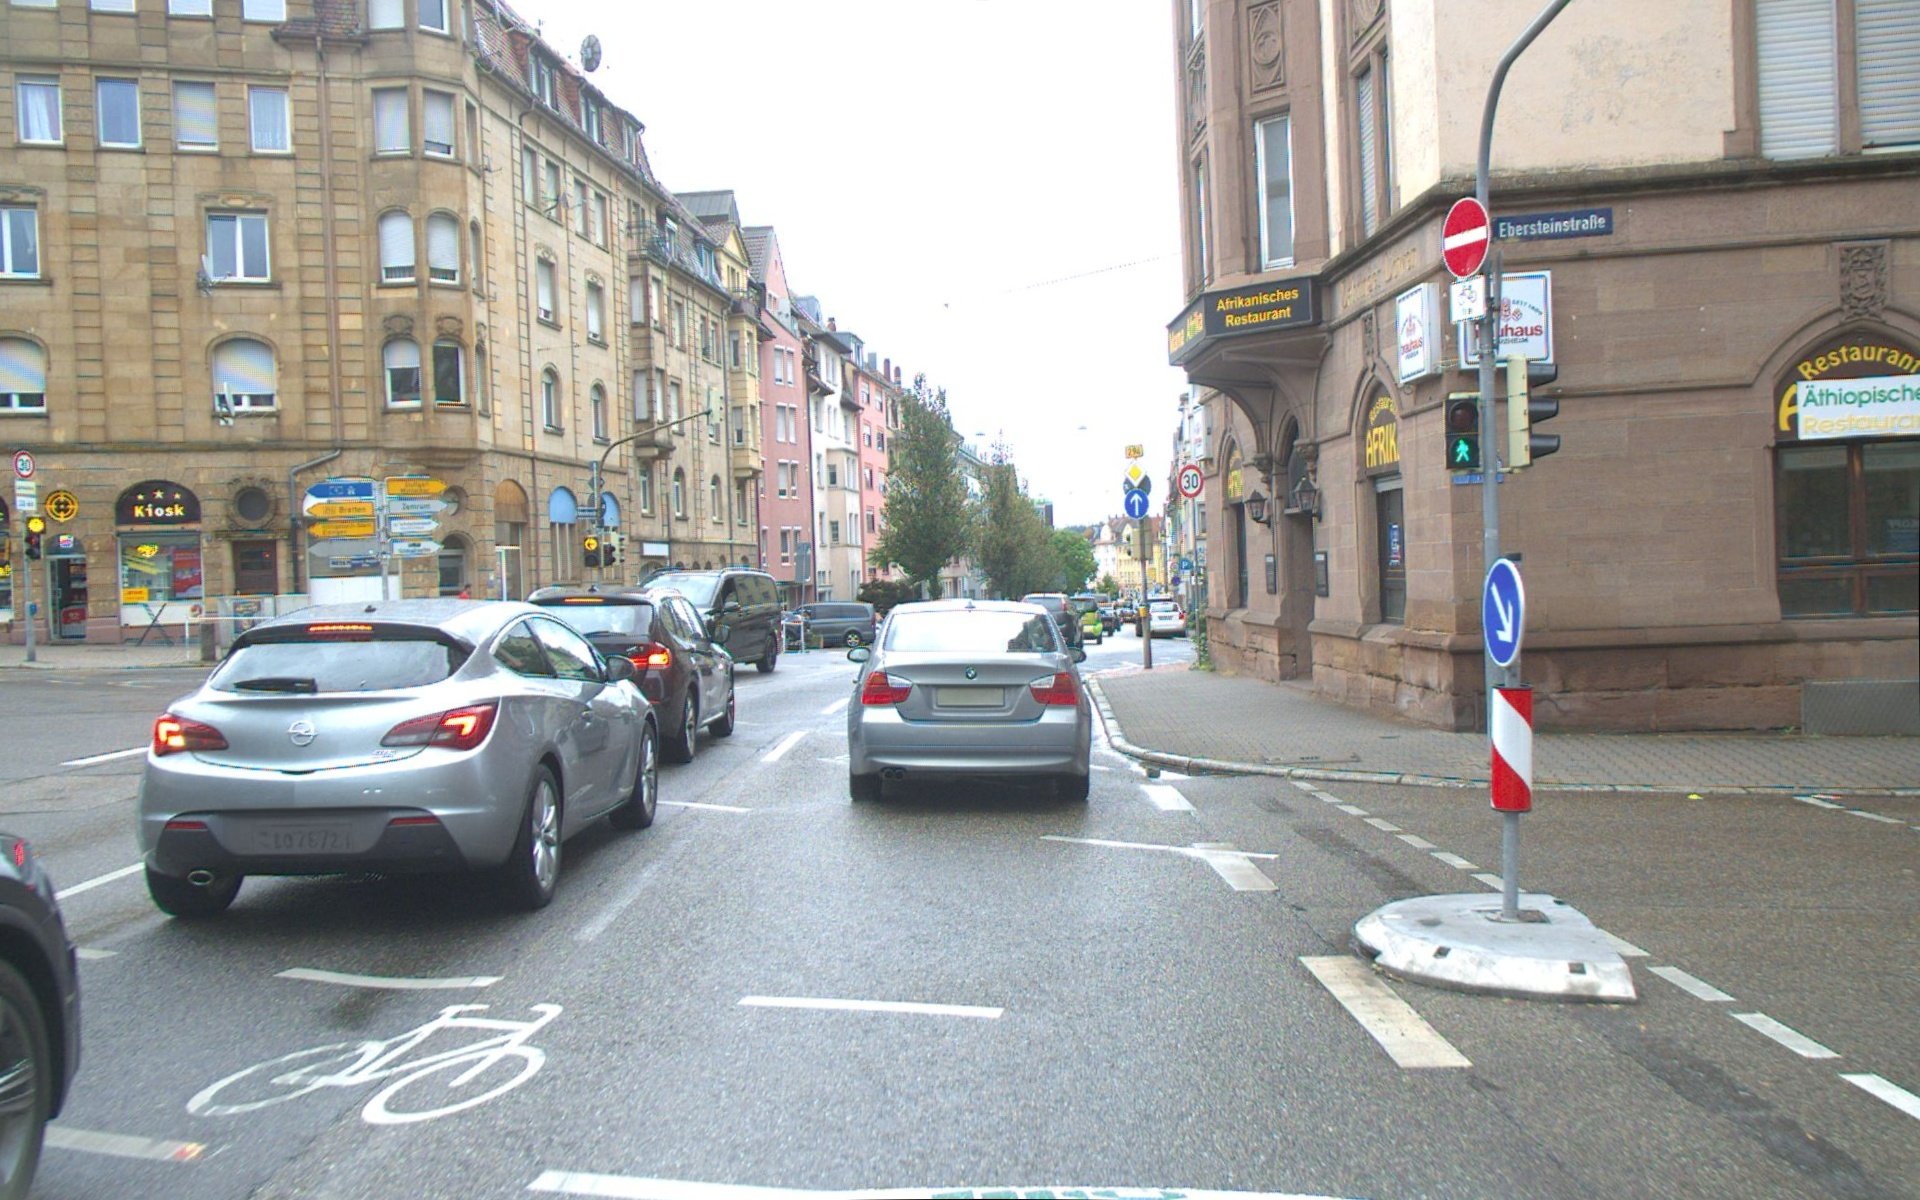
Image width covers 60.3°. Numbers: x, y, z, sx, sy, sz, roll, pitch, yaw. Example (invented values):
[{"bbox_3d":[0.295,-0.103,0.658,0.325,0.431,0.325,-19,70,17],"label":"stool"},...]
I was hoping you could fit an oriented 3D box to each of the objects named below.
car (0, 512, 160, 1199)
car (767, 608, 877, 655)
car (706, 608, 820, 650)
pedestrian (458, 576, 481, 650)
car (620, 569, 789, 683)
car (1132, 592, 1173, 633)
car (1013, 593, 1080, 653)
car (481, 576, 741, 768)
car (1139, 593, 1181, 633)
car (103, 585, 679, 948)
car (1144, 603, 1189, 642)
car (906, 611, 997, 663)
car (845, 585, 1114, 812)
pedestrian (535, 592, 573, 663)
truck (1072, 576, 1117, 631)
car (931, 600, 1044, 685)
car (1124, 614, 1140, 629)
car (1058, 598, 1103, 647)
[{"bbox_3d":[-2.929,0.671,2.279,1.717,1.673,4.211,0,1,-2],"label":"car"},{"bbox_3d":[-5.796,1.319,69.960,4.581,1.972,1.862,0,0,-3],"label":"car"},{"bbox_3d":[-7.709,1.117,64.865,4.059,1.537,1.874,-1,0,6],"label":"car"},{"bbox_3d":[-11.978,0.318,40.386,0.514,1.805,0.690,0,0,-18],"label":"pedestrian"},{"bbox_3d":[-4.553,0.458,30.096,1.705,1.878,4.150,-2,-1,10],"label":"car"},{"bbox_3d":[9.477,0.629,81.537,1.879,1.859,5.012,-3,-1,6],"label":"car"},{"bbox_3d":[2.276,0.624,43.546,1.662,1.509,3.794,0,-1,3],"label":"car"},{"bbox_3d":[-3.151,0.633,15.720,1.717,1.562,4.213,0,-1,-2],"label":"car"},{"bbox_3d":[9.101,0.604,75.351,1.839,1.762,4.680,0,-1,6],"label":"car"},{"bbox_3d":[-2.773,0.708,9.120,1.716,1.509,4.180,-1,0,0],"label":"car"},{"bbox_3d":[8.696,0.941,69.984,1.761,1.592,4.495,0,-1,5],"label":"car"},{"bbox_3d":[-0.222,1.124,51.573,1.591,1.545,3.871,0,0,20],"label":"car"},{"bbox_3d":[0.062,0.665,12.593,1.734,1.453,3.739,0,-1,-2],"label":"car"},{"bbox_3d":[-10.024,0.677,40.819,0.815,1.732,0.634,0,0,-24],"label":"pedestrian"},{"bbox_3d":[6.352,0.207,77.925,1.989,2.455,4.829,-1,-1,6],"label":"truck"},{"bbox_3d":[0.566,0.772,30.404,1.646,1.453,3.743,-1,-1,8],"label":"car"},{"bbox_3d":[20.148,2.489,193.870,1.839,1.762,4.443,0,0,6],"label":"car"},{"bbox_3d":[3.994,0.768,55.296,1.418,1.593,3.334,0,-1,3],"label":"car"}]
